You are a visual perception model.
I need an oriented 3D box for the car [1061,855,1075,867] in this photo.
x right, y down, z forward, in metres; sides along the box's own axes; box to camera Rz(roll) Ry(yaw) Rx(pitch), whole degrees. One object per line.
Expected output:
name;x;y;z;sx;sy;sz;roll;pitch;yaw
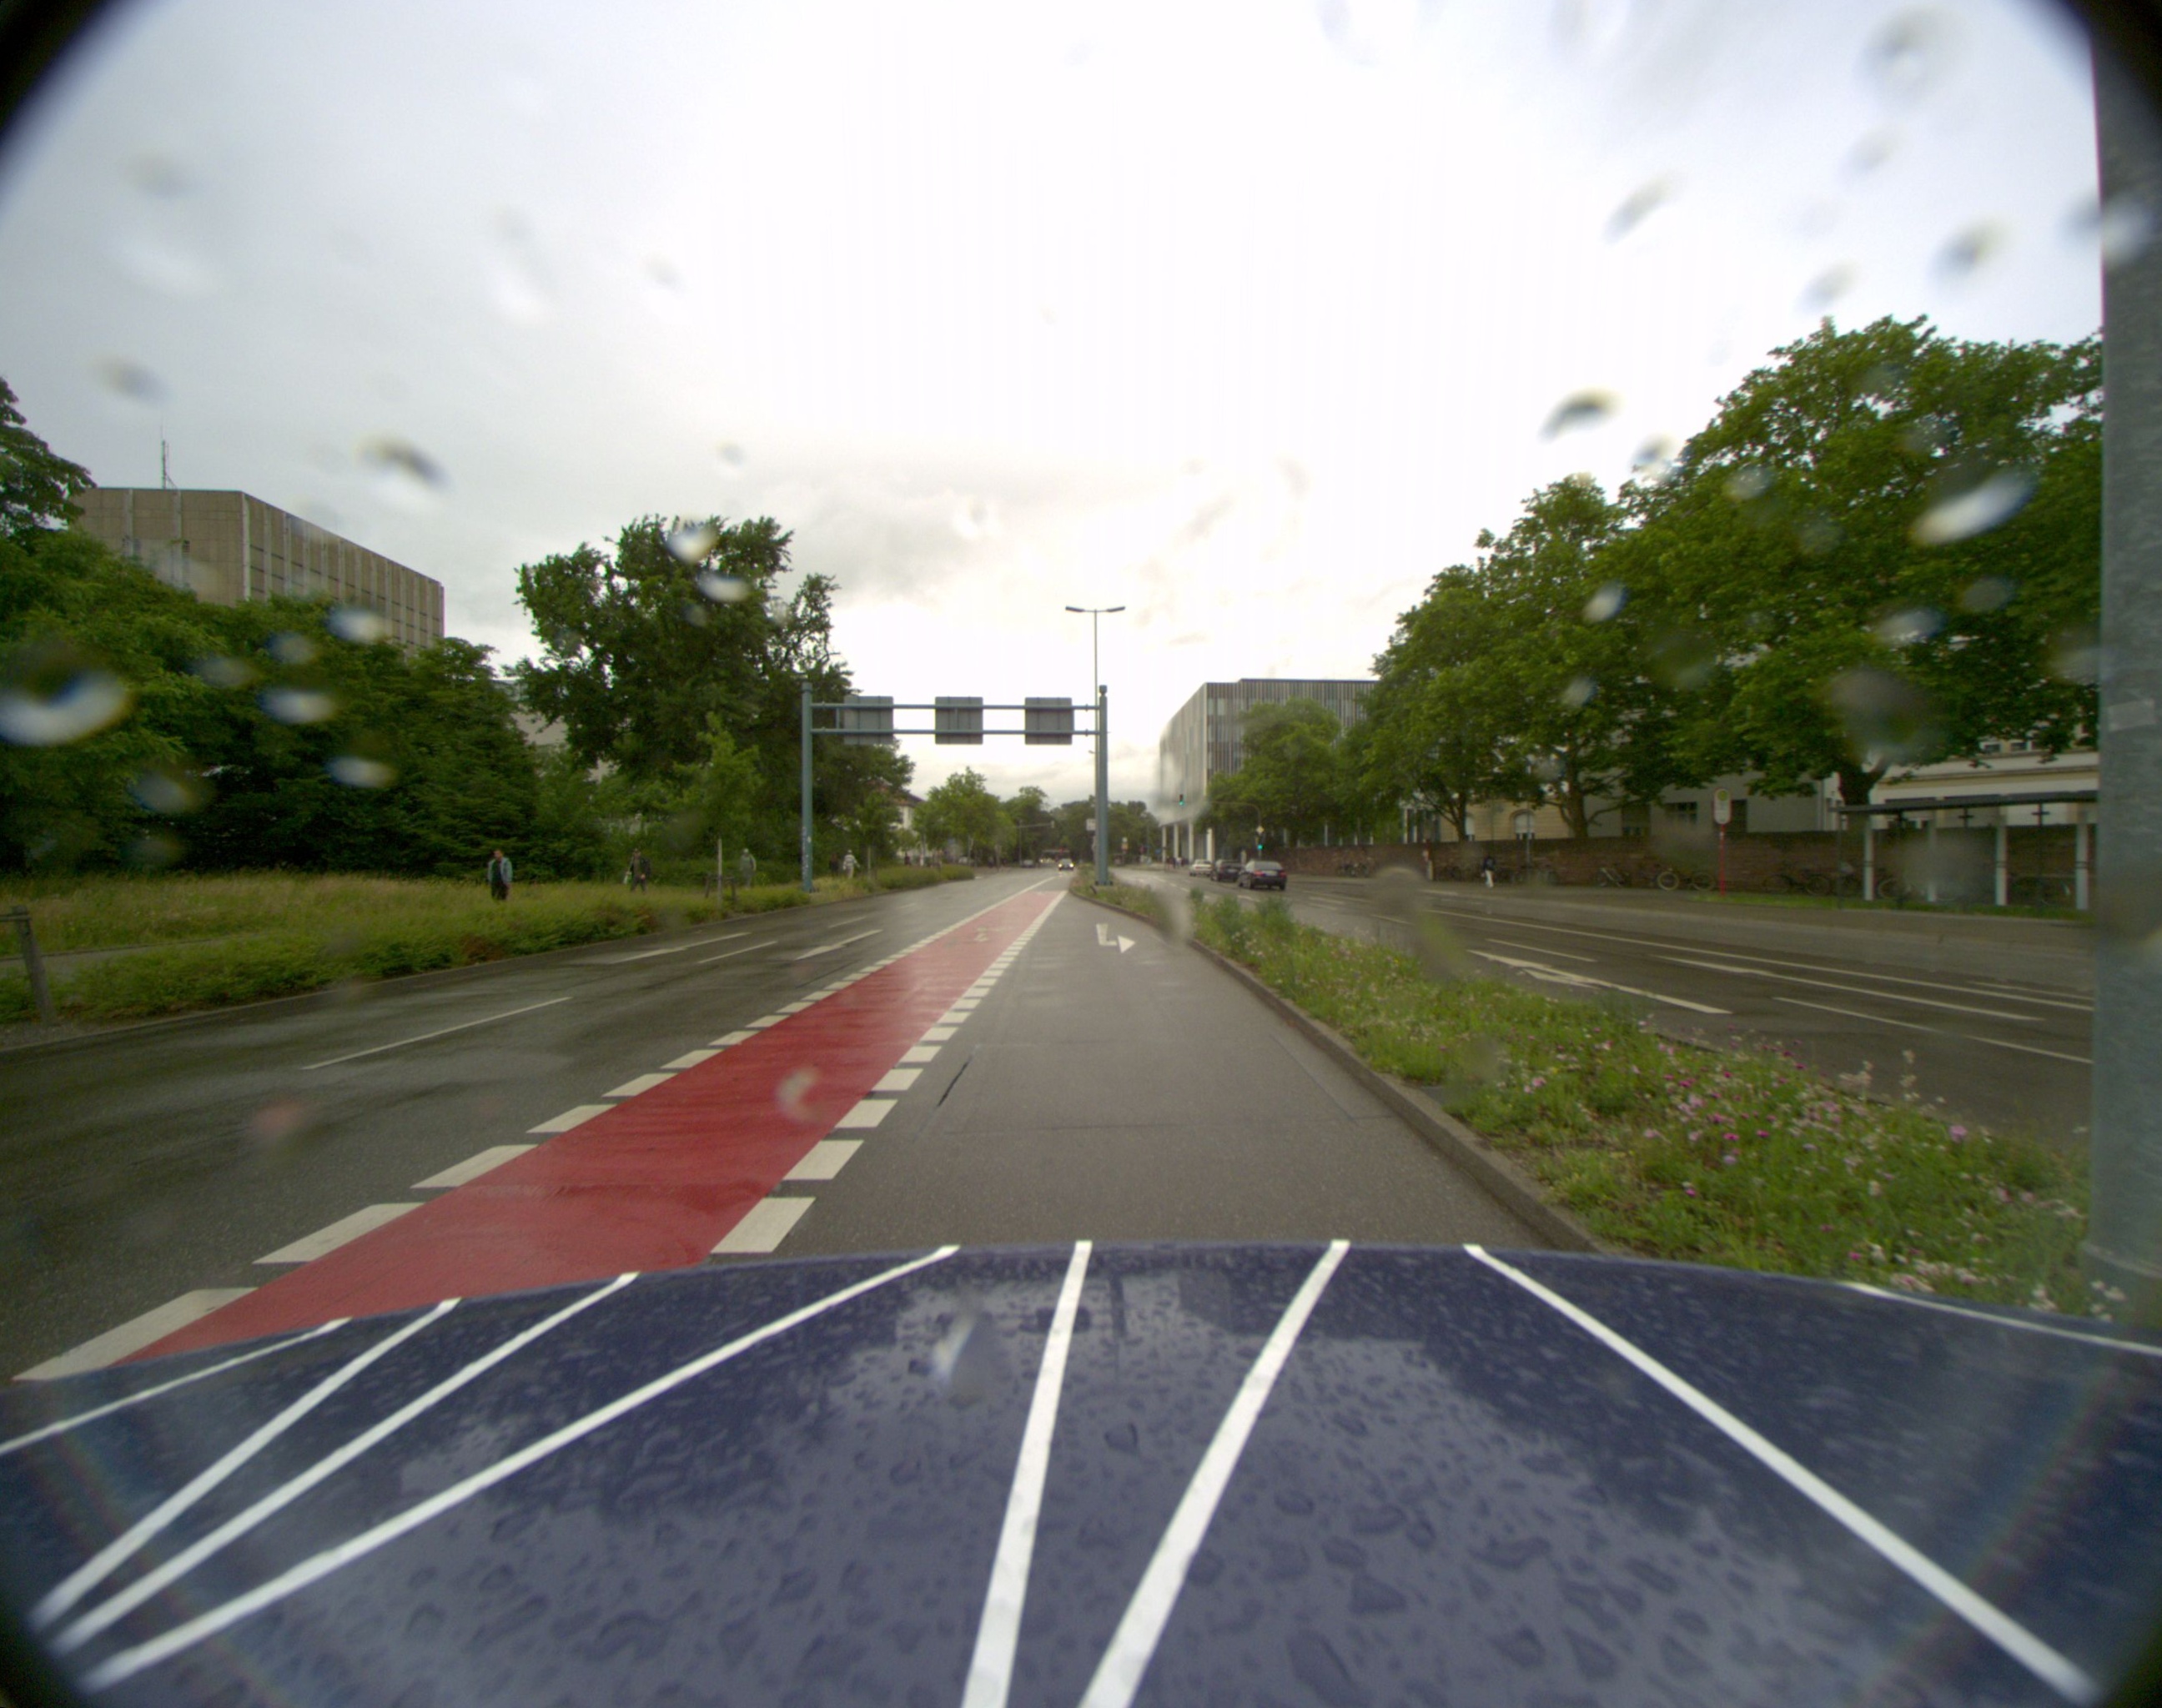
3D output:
car;-1.670;0.863;93.917;1.661;1.356;4.106;0;0;-2

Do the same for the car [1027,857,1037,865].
car;-8.800;1.251;136.496;1.661;1.259;4.106;0;0;-2

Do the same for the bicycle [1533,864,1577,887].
bicycle;21.568;0.979;34.580;0.734;0.977;1.699;-1;0;-11

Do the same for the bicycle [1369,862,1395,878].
bicycle;19.144;0.998;48.344;0.733;0.977;1.863;-1;0;-7

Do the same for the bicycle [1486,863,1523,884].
bicycle;21.314;0.980;38.278;0.734;0.977;1.699;-1;0;-11

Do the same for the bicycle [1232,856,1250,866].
bicycle;21.219;0.918;100.562;2.287;1.215;0.598;0;0;-12

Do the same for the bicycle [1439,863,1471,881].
bicycle;20.501;0.977;41.671;0.734;0.977;1.699;-1;0;-11

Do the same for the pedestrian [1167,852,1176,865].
pedestrian;12.829;0.656;108.025;0.941;1.813;0.921;0;0;-30

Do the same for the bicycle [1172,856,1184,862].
bicycle;18.980;0.917;148.670;2.282;1.215;0.599;0;0;9

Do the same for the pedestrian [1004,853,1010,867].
pedestrian;-9.998;0.825;102.249;0.625;1.813;0.785;0;0;-22

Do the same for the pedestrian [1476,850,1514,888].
pedestrian;19.073;0.671;35.034;0.871;1.686;1.399;0;0;-6

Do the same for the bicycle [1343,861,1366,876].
bicycle;18.778;1.010;52.201;0.734;0.977;1.699;-1;0;-11

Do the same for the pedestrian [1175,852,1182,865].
pedestrian;13.665;0.619;106.774;0.788;1.813;0.623;0;0;-23

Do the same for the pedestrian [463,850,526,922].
pedestrian;-14.913;0.803;19.328;0.935;1.786;0.829;0;0;7

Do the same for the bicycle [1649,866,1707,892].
bicycle;23.232;0.957;29.592;0.734;0.977;1.699;-1;0;-11

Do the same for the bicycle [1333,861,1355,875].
bicycle;18.756;1.016;54.225;0.734;0.977;1.699;-1;0;-11

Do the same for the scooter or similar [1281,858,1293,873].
scooter or similar;17.342;0.942;63.956;0.392;1.191;1.141;-7;1;-6

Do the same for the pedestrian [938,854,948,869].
pedestrian;-14.780;0.780;81.352;0.878;1.597;0.862;0;0;-22

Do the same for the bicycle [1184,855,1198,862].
bicycle;19.584;0.876;135.256;2.282;1.215;0.599;0;0;9

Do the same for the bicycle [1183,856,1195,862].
bicycle;19.517;0.882;137.377;2.282;1.215;0.599;0;0;9

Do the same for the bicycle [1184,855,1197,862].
bicycle;19.606;0.879;136.343;2.282;1.215;0.599;0;0;9

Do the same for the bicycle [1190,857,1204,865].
bicycle;19.662;1.196;128.997;2.287;1.215;0.598;0;0;-12

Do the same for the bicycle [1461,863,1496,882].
bicycle;20.918;0.971;39.969;0.734;0.977;1.699;-1;0;-11

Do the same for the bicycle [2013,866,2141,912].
bicycle;26.405;0.895;20.198;0.575;1.129;1.989;0;0;-16

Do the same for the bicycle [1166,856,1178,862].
bicycle;18.193;0.928;152.320;2.282;1.215;0.599;0;0;9

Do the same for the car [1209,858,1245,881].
car;9.628;1.015;50.225;1.627;1.407;4.066;1;0;1

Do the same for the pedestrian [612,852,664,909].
pedestrian;-13.727;0.800;23.589;0.935;1.737;1.046;0;0;7

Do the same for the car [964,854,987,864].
car;-20.877;0.957;149.973;4.427;1.861;1.637;0;0;-8

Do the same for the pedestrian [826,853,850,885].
pedestrian;-13.017;0.798;40.695;0.935;1.693;0.829;-2;-2;5

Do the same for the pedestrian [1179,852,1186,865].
pedestrian;14.147;0.635;105.905;0.788;1.813;0.623;0;0;-23

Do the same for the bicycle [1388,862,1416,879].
bicycle;19.638;1.013;46.518;0.734;0.977;1.699;-1;0;-11

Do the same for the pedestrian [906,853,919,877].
pedestrian;-12.993;0.851;58.573;0.731;1.848;0.851;0;0;7

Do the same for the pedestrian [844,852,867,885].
pedestrian;-11.994;0.778;40.471;0.935;1.710;0.829;-2;-2;5

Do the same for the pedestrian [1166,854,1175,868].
pedestrian;11.453;0.847;97.109;0.788;1.813;0.794;0;0;-23

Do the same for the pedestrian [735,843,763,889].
pedestrian;-14.419;0.513;33.007;0.792;2.002;0.829;0;0;7

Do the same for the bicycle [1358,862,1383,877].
bicycle;19.230;1.005;50.525;0.734;0.977;1.699;-1;0;-11

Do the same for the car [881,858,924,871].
car;-20.132;1.190;85.798;4.388;1.330;1.772;0;3;-4

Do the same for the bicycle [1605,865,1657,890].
bicycle;22.883;0.964;31.649;0.734;0.977;1.699;-1;0;-11

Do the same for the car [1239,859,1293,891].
car;9.683;1.040;40.163;1.813;1.531;4.703;1;0;1

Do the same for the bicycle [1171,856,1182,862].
bicycle;18.941;0.923;150.695;2.282;1.215;0.599;0;0;9

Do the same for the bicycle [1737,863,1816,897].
bicycle;24.341;0.893;26.635;0.575;1.129;1.988;0;0;-20

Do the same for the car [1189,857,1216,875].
car;9.933;0.965;62.410;1.600;1.407;4.524;1;0;1

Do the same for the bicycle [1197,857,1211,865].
bicycle;20.481;1.187;126.503;2.287;1.215;0.598;0;0;-12

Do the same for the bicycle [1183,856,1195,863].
bicycle;19.681;0.953;138.340;2.282;1.215;0.599;0;0;9

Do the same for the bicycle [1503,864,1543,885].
bicycle;21.478;0.976;36.934;0.734;0.977;1.699;-1;0;-11

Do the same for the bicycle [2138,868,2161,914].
bicycle;27.257;0.912;18.320;0.575;1.129;1.989;0;0;-16

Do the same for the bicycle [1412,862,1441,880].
bicycle;20.186;0.986;44.419;0.734;0.977;1.699;-1;0;-11

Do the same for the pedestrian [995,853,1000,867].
pedestrian;-11.236;0.815;101.937;0.625;1.813;0.786;0;0;-14

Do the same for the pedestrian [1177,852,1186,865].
pedestrian;14.251;0.655;107.759;0.941;1.813;0.922;0;0;-23

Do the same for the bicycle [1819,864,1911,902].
bicycle;25.034;0.909;24.318;0.575;1.129;1.988;0;0;-20

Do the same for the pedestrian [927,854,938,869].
pedestrian;-15.856;0.794;81.196;0.878;1.597;0.862;0;0;-27

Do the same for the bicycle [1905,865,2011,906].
bicycle;25.777;0.904;22.385;0.575;1.129;1.989;0;0;-16
